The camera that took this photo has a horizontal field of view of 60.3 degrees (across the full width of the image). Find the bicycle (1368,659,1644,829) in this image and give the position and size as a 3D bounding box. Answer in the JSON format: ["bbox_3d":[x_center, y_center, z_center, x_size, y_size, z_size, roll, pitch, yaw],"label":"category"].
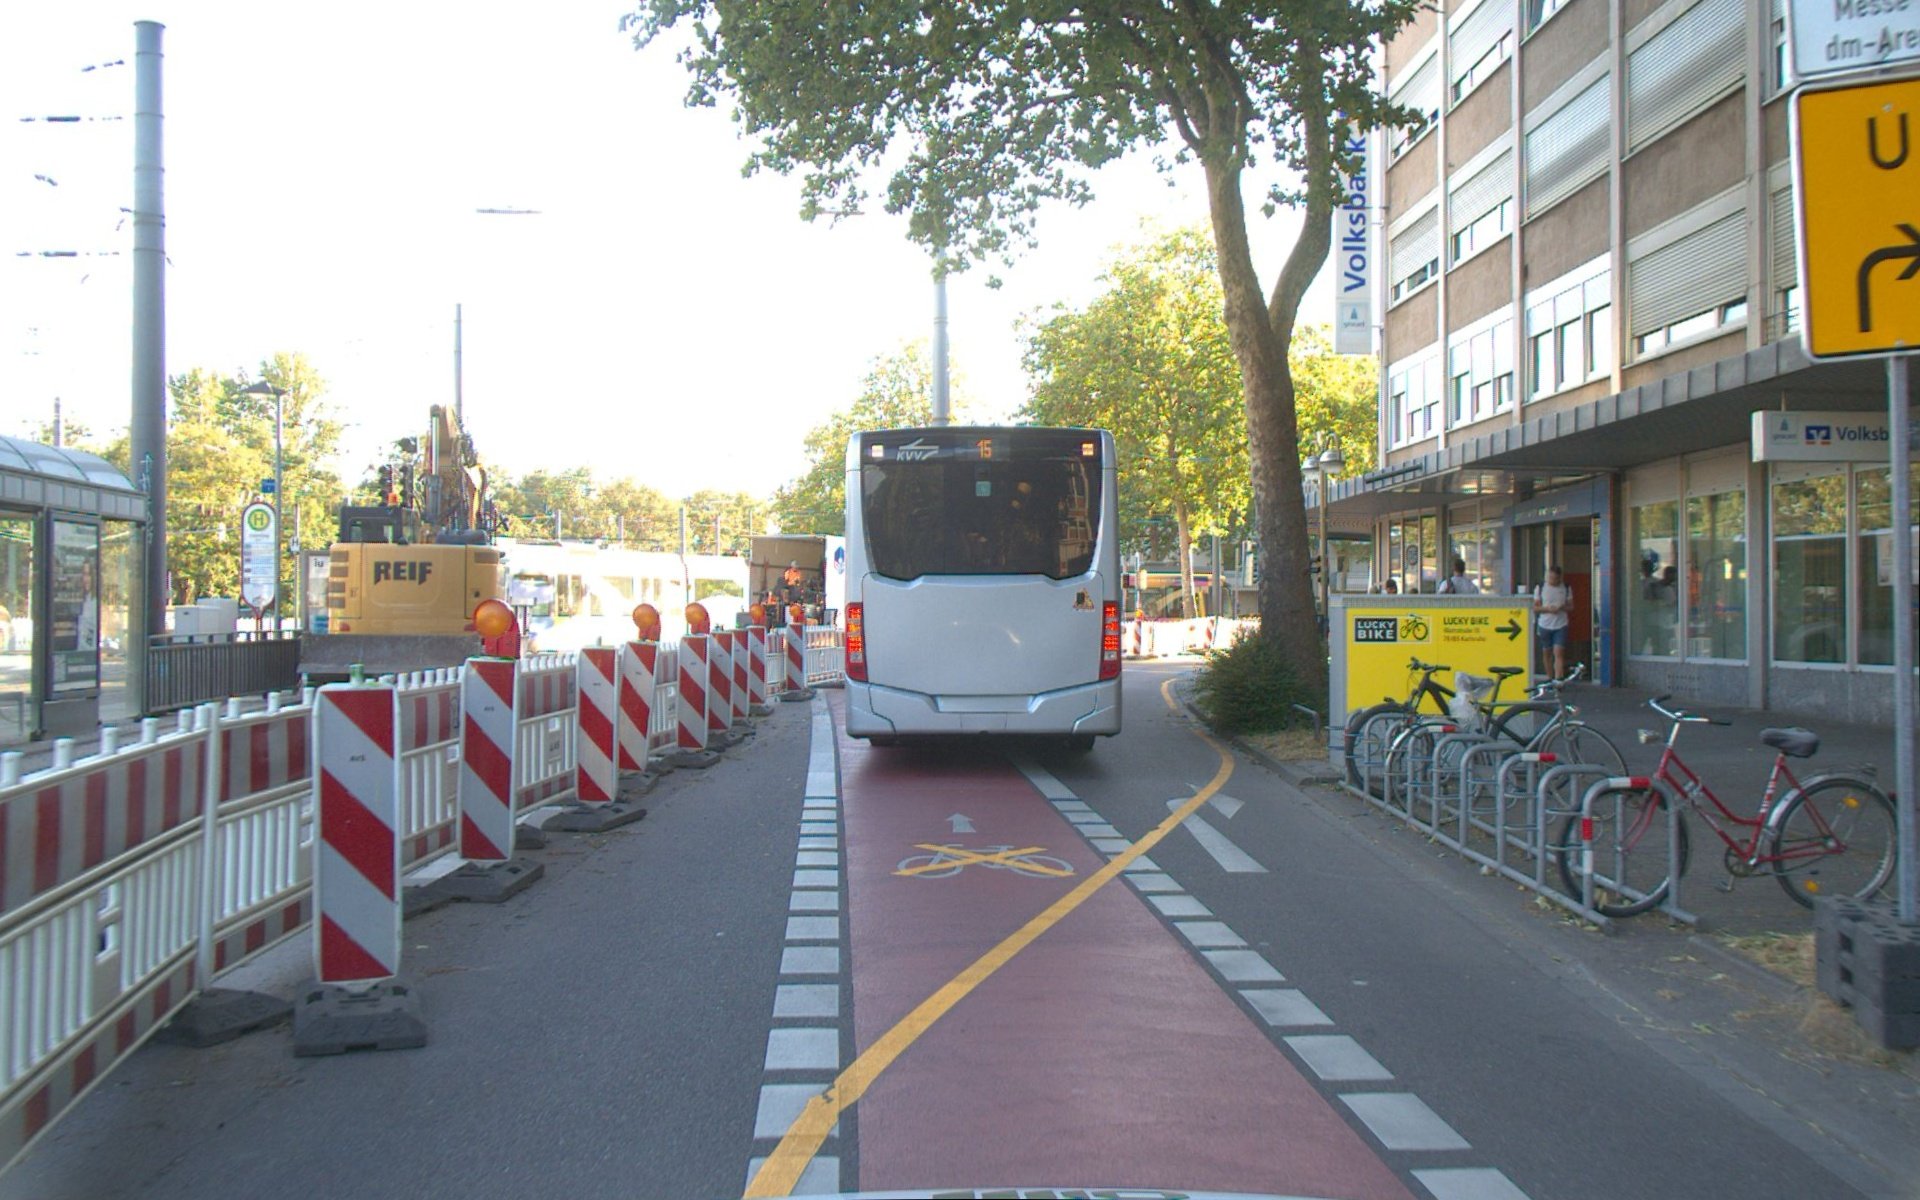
[{"bbox_3d":[3.769,0.984,11.495,1.678,1.077,0.644,-1,0,-1],"label":"bicycle"}]

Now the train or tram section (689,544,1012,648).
[{"bbox_3d":[-3.853,-0.041,62.033,12.639,3.612,2.703,1,-1,-36],"label":"train or tram section"}]

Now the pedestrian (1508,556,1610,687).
[{"bbox_3d":[8.393,0.294,23.209,0.881,1.726,1.070,-5,0,-2],"label":"pedestrian"}]

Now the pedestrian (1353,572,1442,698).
[{"bbox_3d":[6.366,0.500,24.136,0.881,1.740,1.070,-3,0,-3],"label":"pedestrian"}]

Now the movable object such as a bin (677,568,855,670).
[{"bbox_3d":[-4.648,0.446,40.573,1.953,2.296,5.205,1,0,24],"label":"movable object such as a bin"}]

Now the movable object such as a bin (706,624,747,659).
[{"bbox_3d":[-6.301,1.117,44.743,0.913,0.933,1.419,0,-1,-1],"label":"movable object such as a bin"}]

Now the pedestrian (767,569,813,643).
[{"bbox_3d":[-4.795,0.166,46.699,0.917,2.049,1.001,0,1,22],"label":"pedestrian"}]

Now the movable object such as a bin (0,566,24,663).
[{"bbox_3d":[-27.591,0.412,44.637,2.107,2.685,4.598,0,0,-1],"label":"movable object such as a bin"}]

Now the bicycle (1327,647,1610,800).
[{"bbox_3d":[3.943,0.941,12.907,1.948,1.077,0.770,-1,-1,-6],"label":"bicycle"}]

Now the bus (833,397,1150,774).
[{"bbox_3d":[0.262,-0.121,19.480,2.677,3.194,10.702,1,0,0],"label":"bus"}]

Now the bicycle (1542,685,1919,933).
[{"bbox_3d":[3.782,0.969,7.912,1.754,1.040,0.643,-1,0,-5],"label":"bicycle"}]

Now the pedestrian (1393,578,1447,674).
[{"bbox_3d":[7.899,0.443,28.449,0.620,1.601,0.774,-3,0,-3],"label":"pedestrian"}]

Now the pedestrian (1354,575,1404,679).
[{"bbox_3d":[7.185,0.452,28.361,0.571,1.738,0.679,-3,0,-3],"label":"pedestrian"}]

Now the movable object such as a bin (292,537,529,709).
[{"bbox_3d":[-8.238,0.324,25.357,2.593,2.358,4.893,0,0,-8],"label":"movable object such as a bin"}]

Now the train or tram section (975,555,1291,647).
[{"bbox_3d":[7.172,0.091,67.781,13.090,3.581,2.634,0,-1,-20],"label":"train or tram section"}]

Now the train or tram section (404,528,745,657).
[{"bbox_3d":[-11.717,-0.096,52.689,2.794,3.595,13.383,0,-1,26],"label":"train or tram section"}]

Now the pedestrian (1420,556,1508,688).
[{"bbox_3d":[7.617,0.327,25.061,0.821,1.902,1.099,-4,0,-3],"label":"pedestrian"}]

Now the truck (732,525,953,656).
[{"bbox_3d":[-3.318,-0.251,50.091,2.756,3.603,8.978,0,0,24],"label":"truck"}]

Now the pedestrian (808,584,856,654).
[{"bbox_3d":[-3.364,0.490,43.505,0.952,1.829,1.070,0,0,14],"label":"pedestrian"}]
